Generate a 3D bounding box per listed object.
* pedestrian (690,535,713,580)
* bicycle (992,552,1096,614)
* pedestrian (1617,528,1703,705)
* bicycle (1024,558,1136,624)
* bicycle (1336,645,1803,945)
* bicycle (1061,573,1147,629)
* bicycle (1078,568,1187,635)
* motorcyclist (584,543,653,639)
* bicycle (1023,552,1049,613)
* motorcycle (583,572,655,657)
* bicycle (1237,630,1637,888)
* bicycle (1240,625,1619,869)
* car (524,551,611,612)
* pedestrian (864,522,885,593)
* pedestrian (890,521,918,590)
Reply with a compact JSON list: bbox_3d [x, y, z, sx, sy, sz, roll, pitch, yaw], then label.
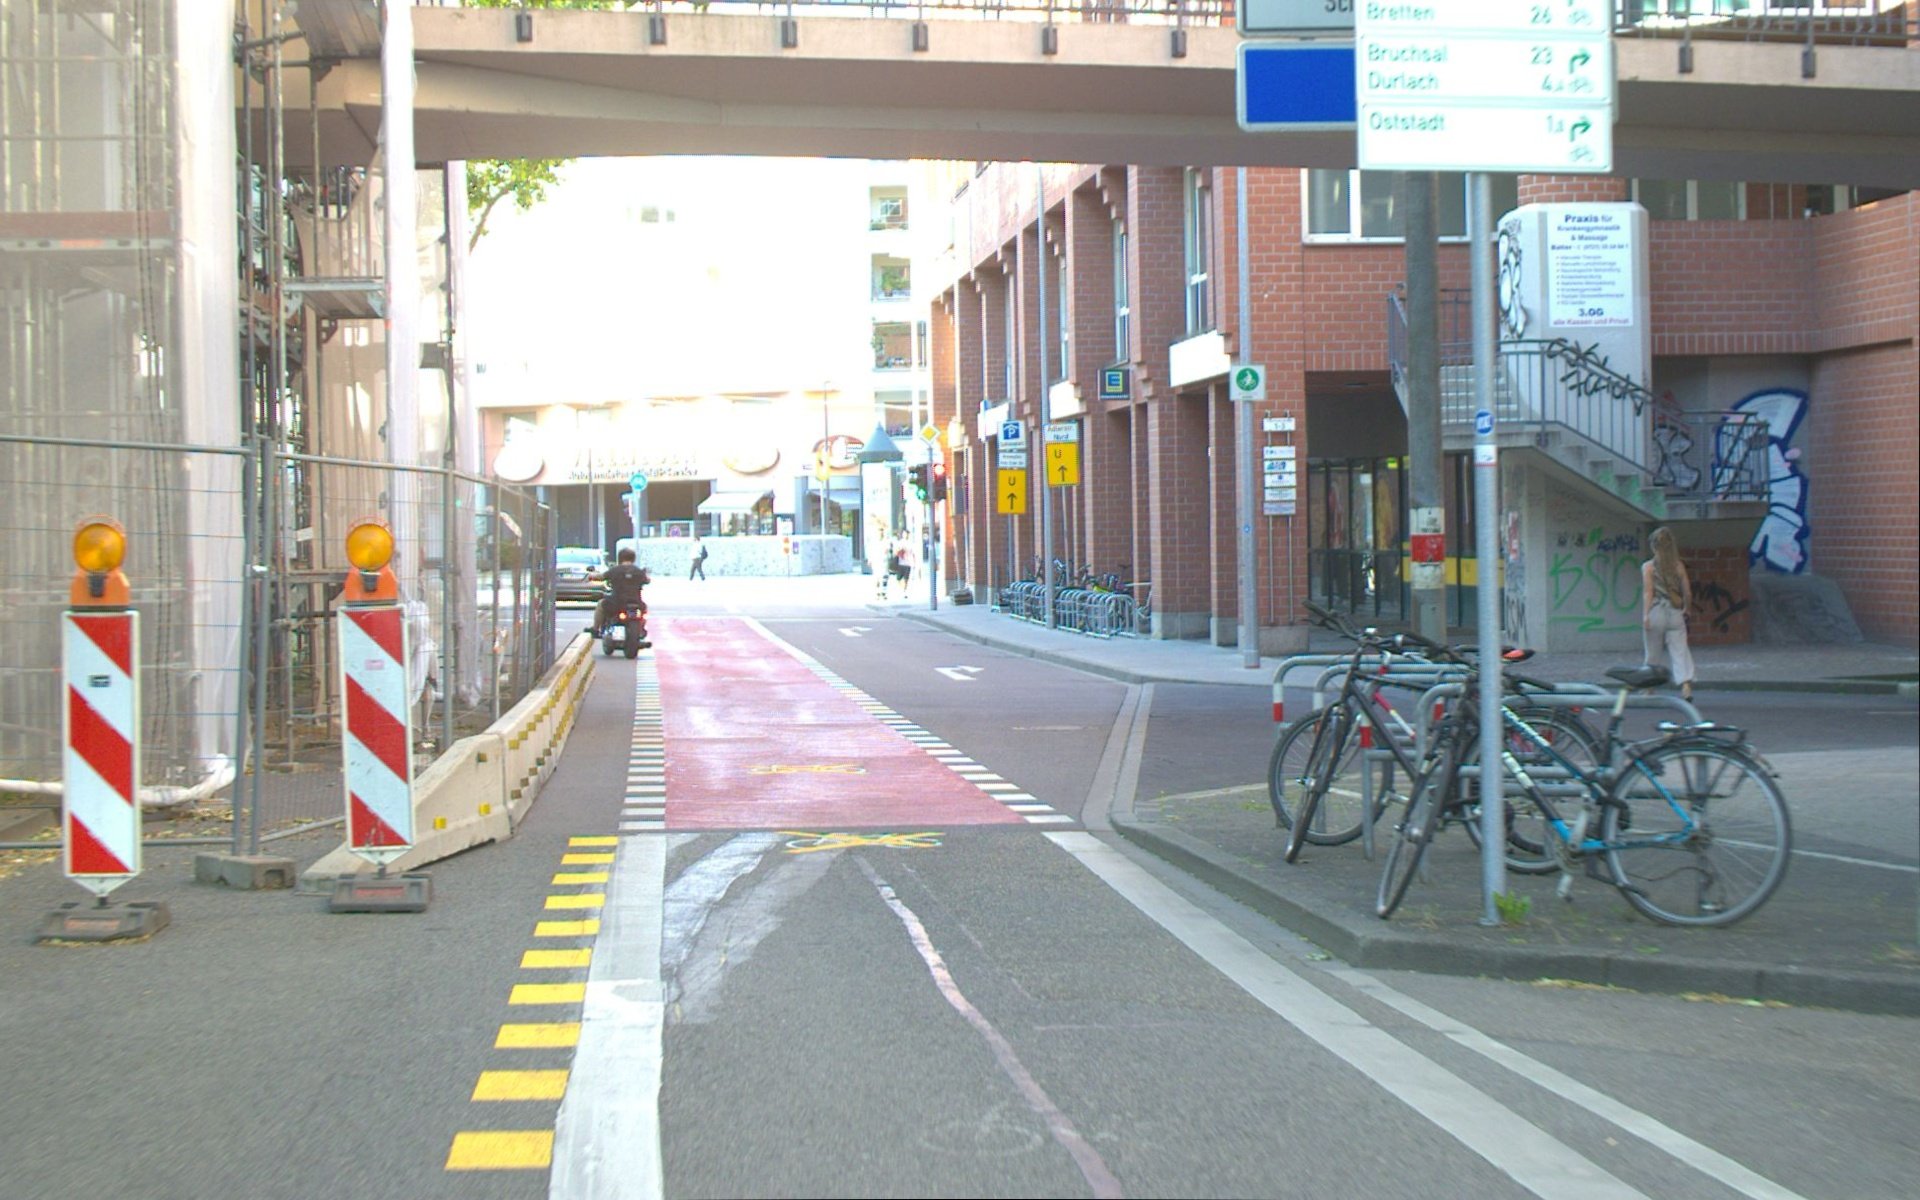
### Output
[{"bbox_3d":[-9.089,-1.502,120.944,0.557,1.578,0.540,0,1,42],"label":"pedestrian"},{"bbox_3d":[1.585,-0.319,65.028,1.891,1.115,0.475,-2,1,-5],"label":"bicycle"},{"bbox_3d":[6.515,0.142,32.016,0.569,1.627,0.778,0,1,-7],"label":"pedestrian"},{"bbox_3d":[2.129,-0.165,61.017,1.891,1.115,0.550,-2,1,-5],"label":"bicycle"},{"bbox_3d":[2.294,0.713,12.945,1.679,1.064,0.511,0,1,18],"label":"bicycle"},{"bbox_3d":[2.387,0.017,56.927,1.334,0.838,0.425,-3,1,-4],"label":"bicycle"},{"bbox_3d":[2.709,0.027,54.193,1.611,0.951,0.555,-3,1,-4],"label":"bicycle"},{"bbox_3d":[-4.861,-0.128,48.880,0.970,1.342,1.138,0,1,-6],"label":"motorcyclist"},{"bbox_3d":[1.521,-0.363,68.588,0.339,1.179,1.678,-1,1,-4],"label":"bicycle"},{"bbox_3d":[-4.829,0.190,48.554,0.973,1.128,2.805,0,1,-6],"label":"motorcycle"},{"bbox_3d":[2.097,0.678,15.175,1.680,1.064,0.500,0,1,29],"label":"bicycle"},{"bbox_3d":[2.172,0.662,15.976,1.680,1.064,0.500,0,1,29],"label":"bicycle"},{"bbox_3d":[-9.393,-0.461,82.070,1.923,1.384,4.001,-1,1,-9],"label":"car"},{"bbox_3d":[-2.157,-1.066,86.938,0.475,1.786,0.541,-1,1,-6],"label":"pedestrian"},{"bbox_3d":[-1.421,-1.130,87.043,0.633,1.719,0.630,-1,1,-6],"label":"pedestrian"}]
